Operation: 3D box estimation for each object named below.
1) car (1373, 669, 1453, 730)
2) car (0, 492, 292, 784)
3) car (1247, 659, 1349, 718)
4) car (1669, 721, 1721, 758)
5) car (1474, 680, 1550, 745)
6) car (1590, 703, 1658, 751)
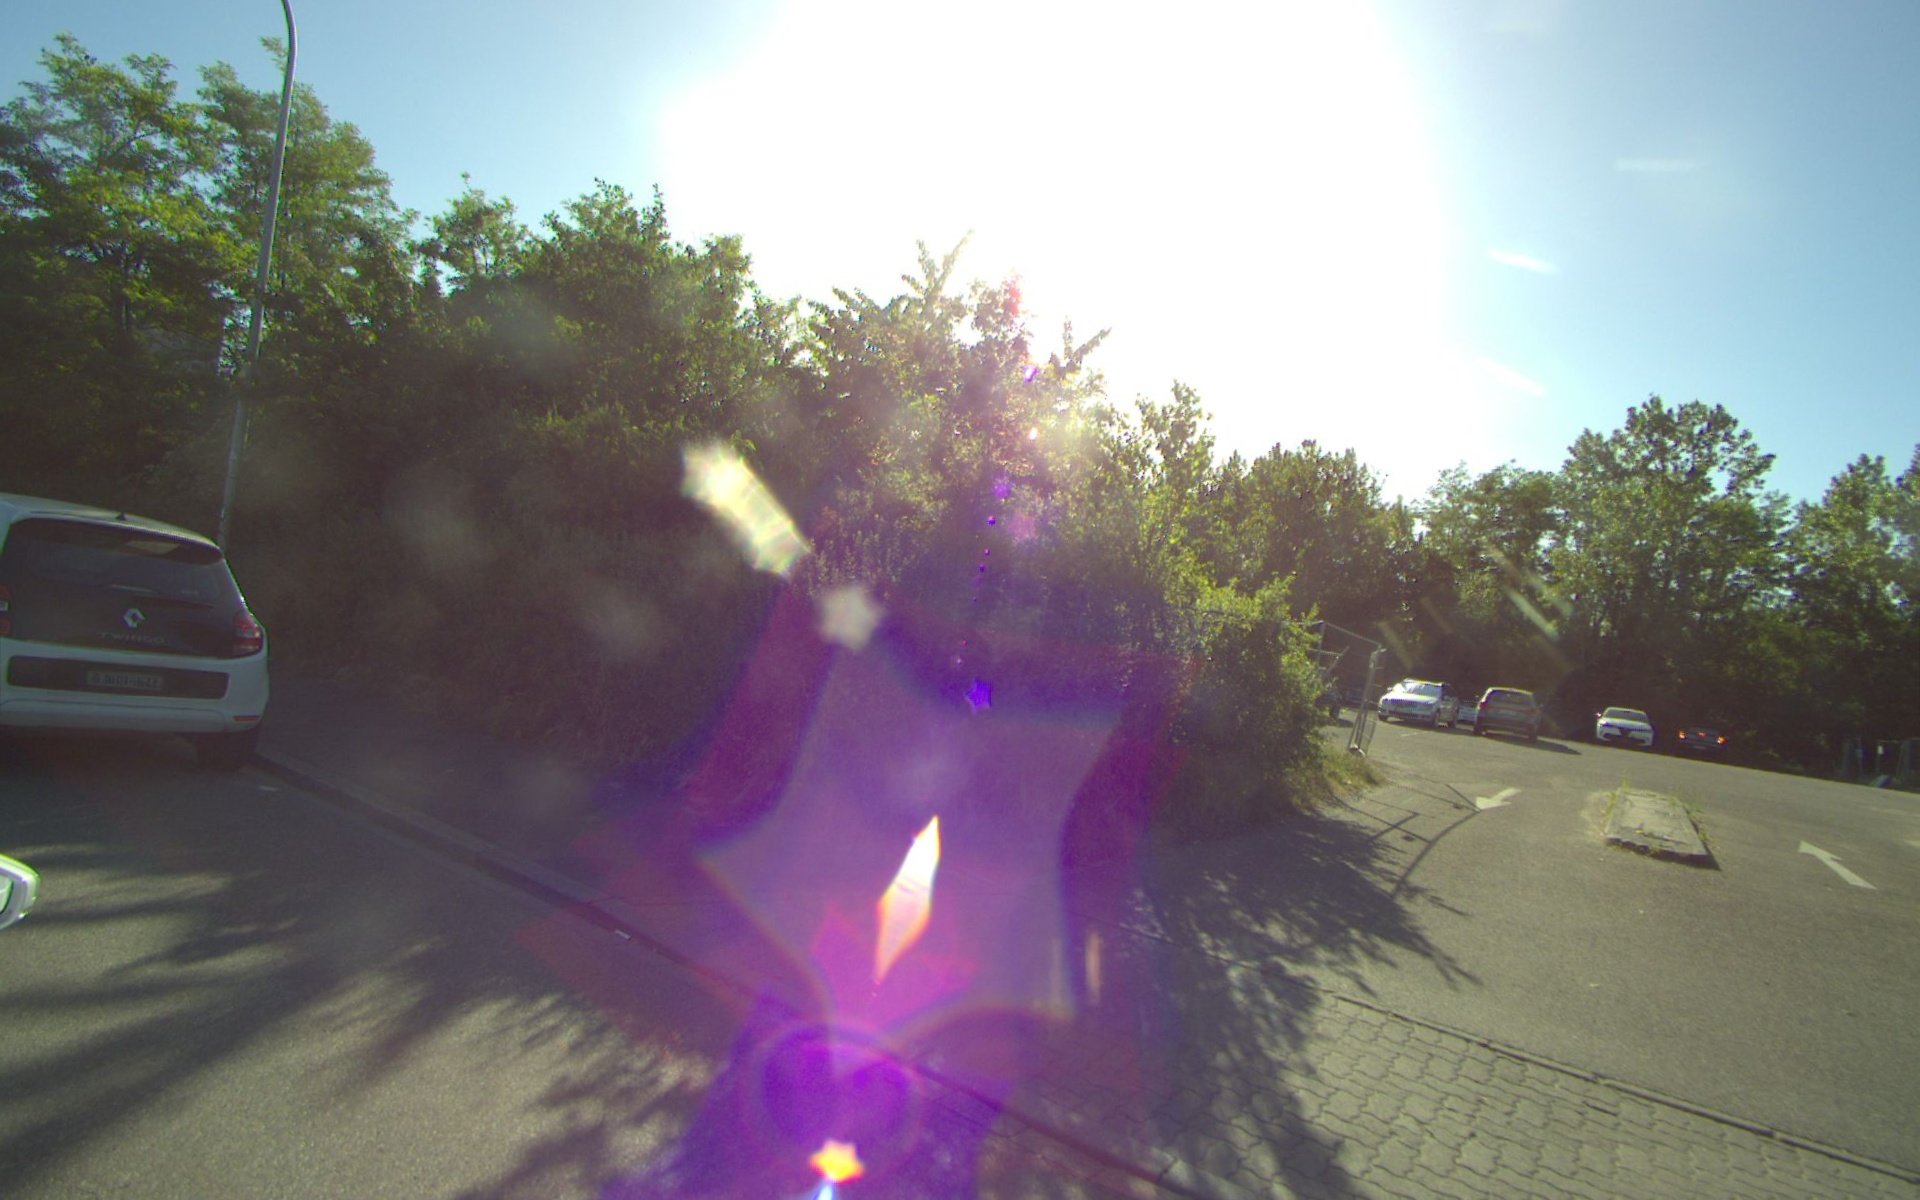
[{"bbox_3d":[15.023,3.244,33.244,1.850,1.675,3.940,7,-1,30],"label":"car"},{"bbox_3d":[-6.273,0.125,6.825,3.499,1.555,1.559,7,-4,35],"label":"car"},{"bbox_3d":[10.222,2.680,30.276,1.600,1.491,3.722,7,-1,39],"label":"car"},{"bbox_3d":[37.545,7.152,51.449,1.782,1.543,3.995,7,-3,34],"label":"car"},{"bbox_3d":[17.513,3.486,31.871,1.850,1.674,3.940,7,-1,30],"label":"car"},{"bbox_3d":[26.178,5.029,39.788,1.780,1.543,3.999,7,-3,29],"label":"car"}]
